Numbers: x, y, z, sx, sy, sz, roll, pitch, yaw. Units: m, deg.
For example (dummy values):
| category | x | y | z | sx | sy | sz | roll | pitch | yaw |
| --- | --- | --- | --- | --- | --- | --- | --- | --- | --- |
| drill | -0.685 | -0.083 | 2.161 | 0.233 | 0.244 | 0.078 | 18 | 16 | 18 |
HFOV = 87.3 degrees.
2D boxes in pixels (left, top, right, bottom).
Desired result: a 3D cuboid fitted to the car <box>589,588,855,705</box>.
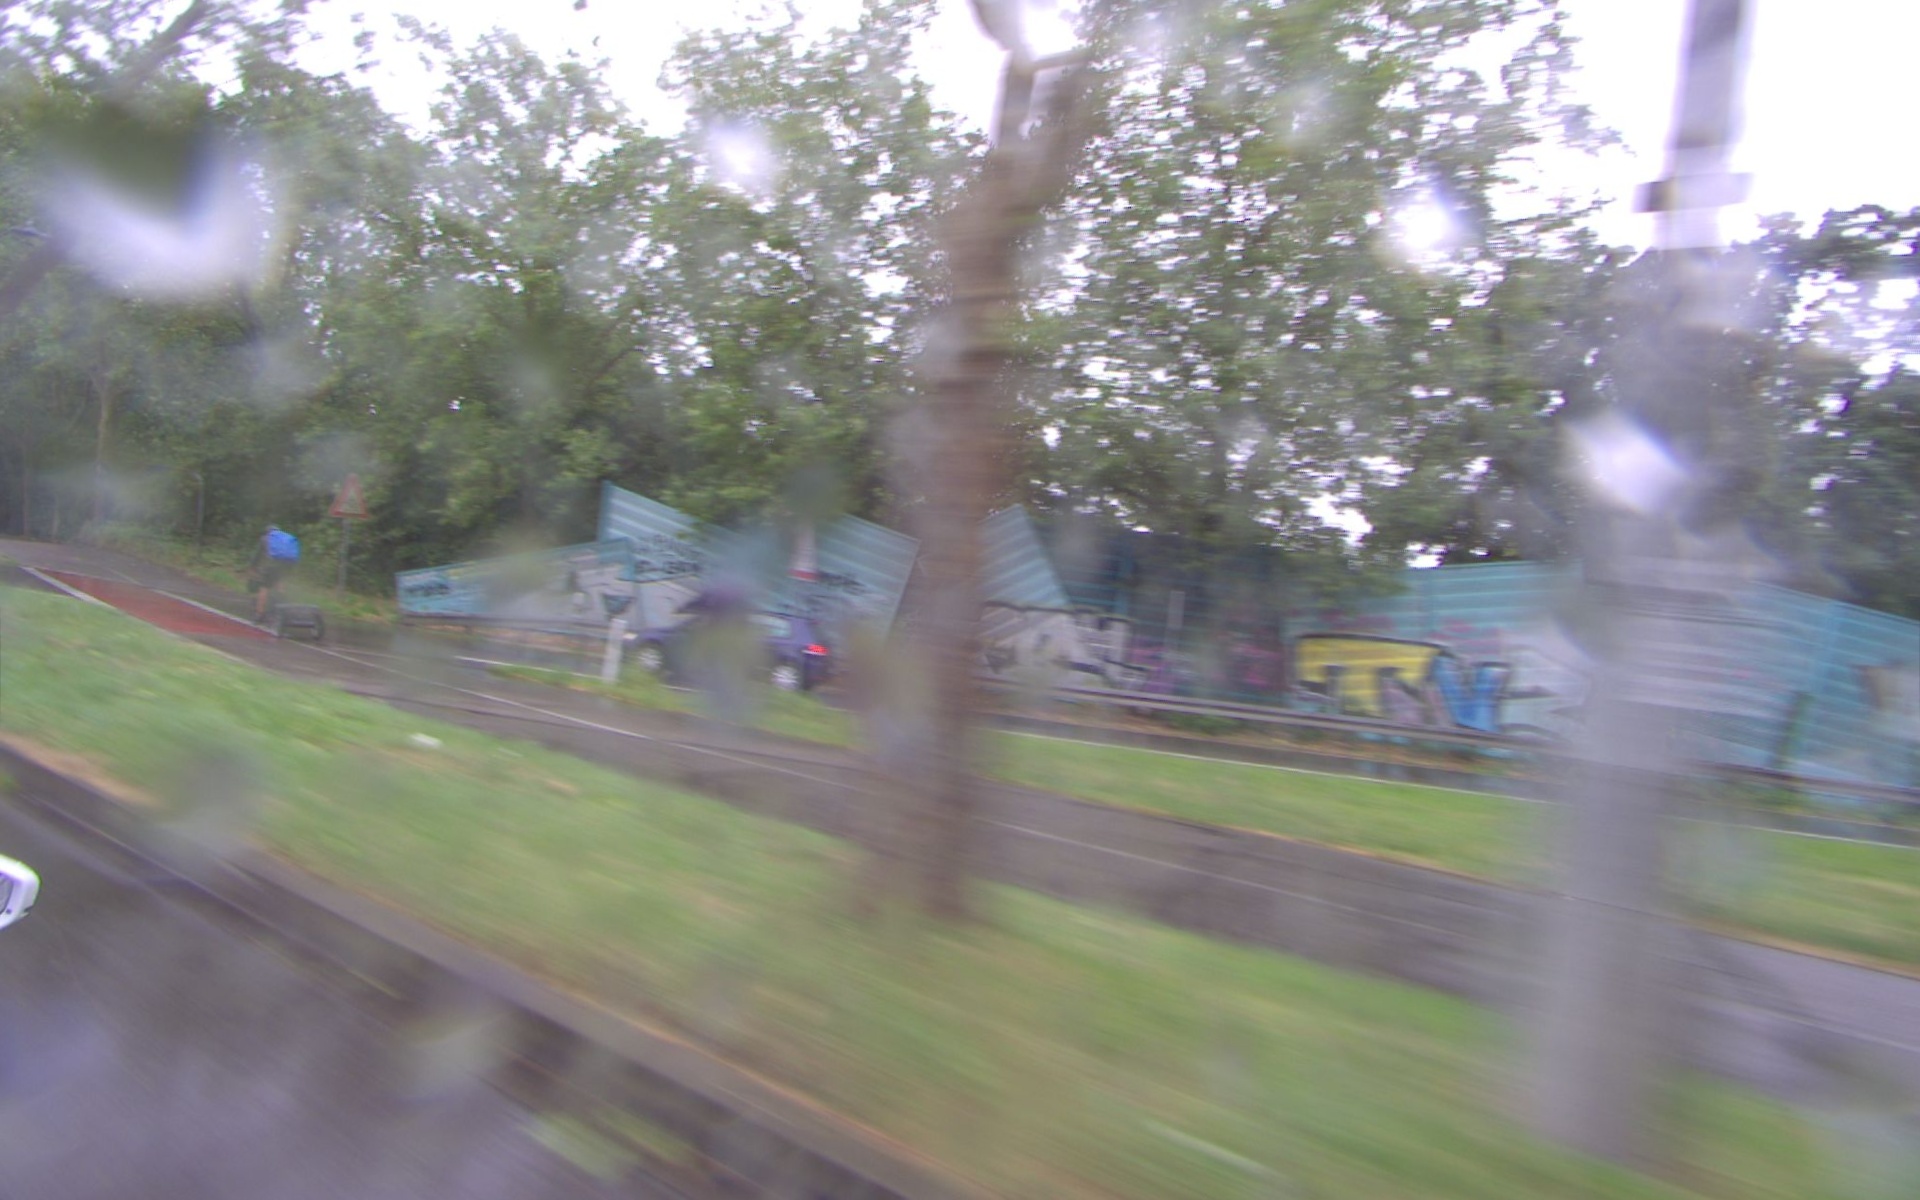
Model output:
| category | x | y | z | sx | sy | sz | roll | pitch | yaw |
| --- | --- | --- | --- | --- | --- | --- | --- | --- | --- |
| car | -4.434 | 0.865 | 19.147 | 4.431 | 1.555 | 1.870 | 7 | 0 | 4 |
